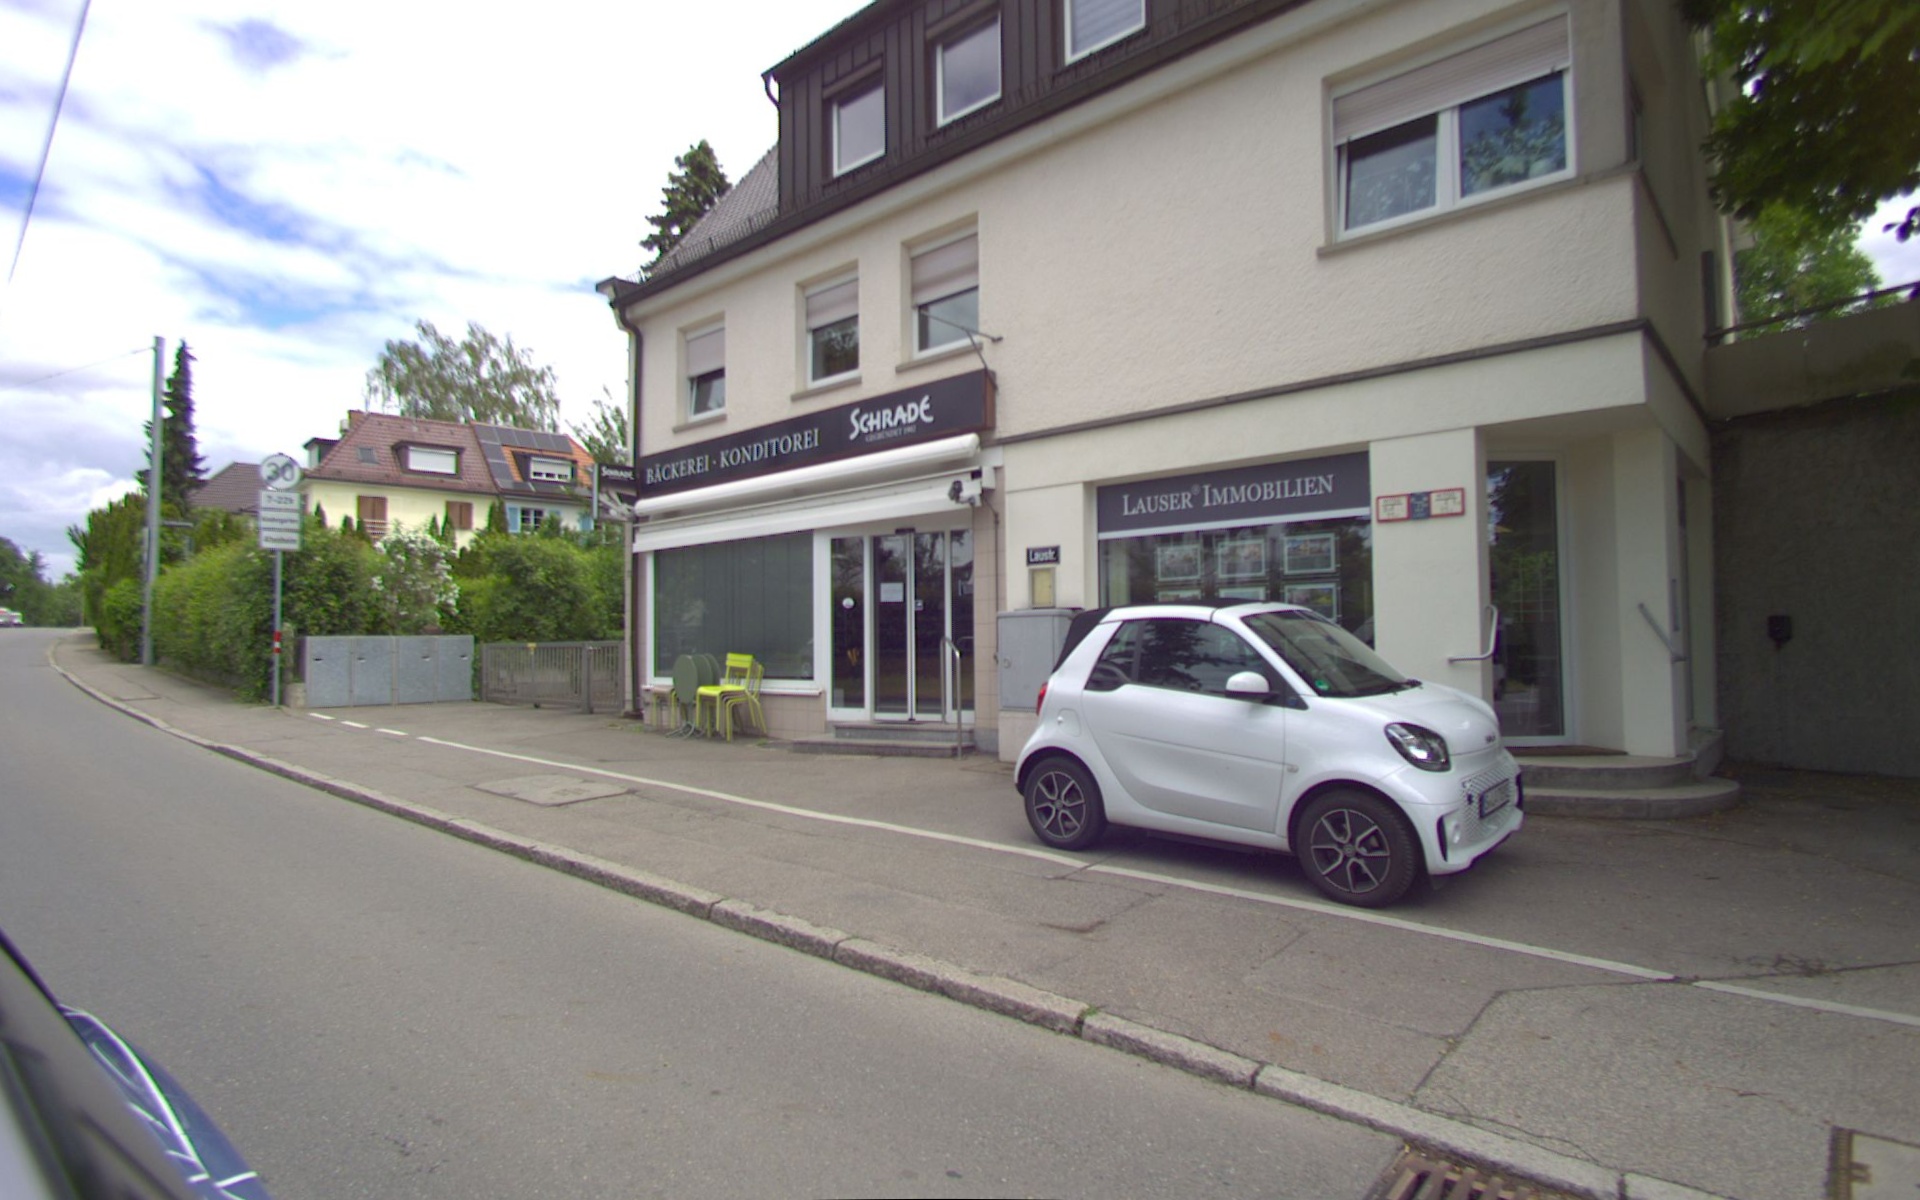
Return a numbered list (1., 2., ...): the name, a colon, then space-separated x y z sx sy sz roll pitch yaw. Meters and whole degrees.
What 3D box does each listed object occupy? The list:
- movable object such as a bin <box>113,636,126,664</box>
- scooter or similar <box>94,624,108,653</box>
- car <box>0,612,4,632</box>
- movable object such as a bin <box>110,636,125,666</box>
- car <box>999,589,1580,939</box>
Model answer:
1. movable object such as a bin: -27.029 1.604 32.542 0.332 0.900 0.477 0 -1 -40
2. scooter or similar: -34.957 1.561 41.190 0.387 1.180 1.272 1 -2 -42
3. car: -112.486 2.605 117.624 1.827 2.241 5.374 -1 -1 -42
4. movable object such as a bin: -26.297 1.593 31.587 0.332 0.900 0.477 0 -1 -40
5. car: 1.869 0.763 6.120 2.923 1.550 1.571 -2 0 43
